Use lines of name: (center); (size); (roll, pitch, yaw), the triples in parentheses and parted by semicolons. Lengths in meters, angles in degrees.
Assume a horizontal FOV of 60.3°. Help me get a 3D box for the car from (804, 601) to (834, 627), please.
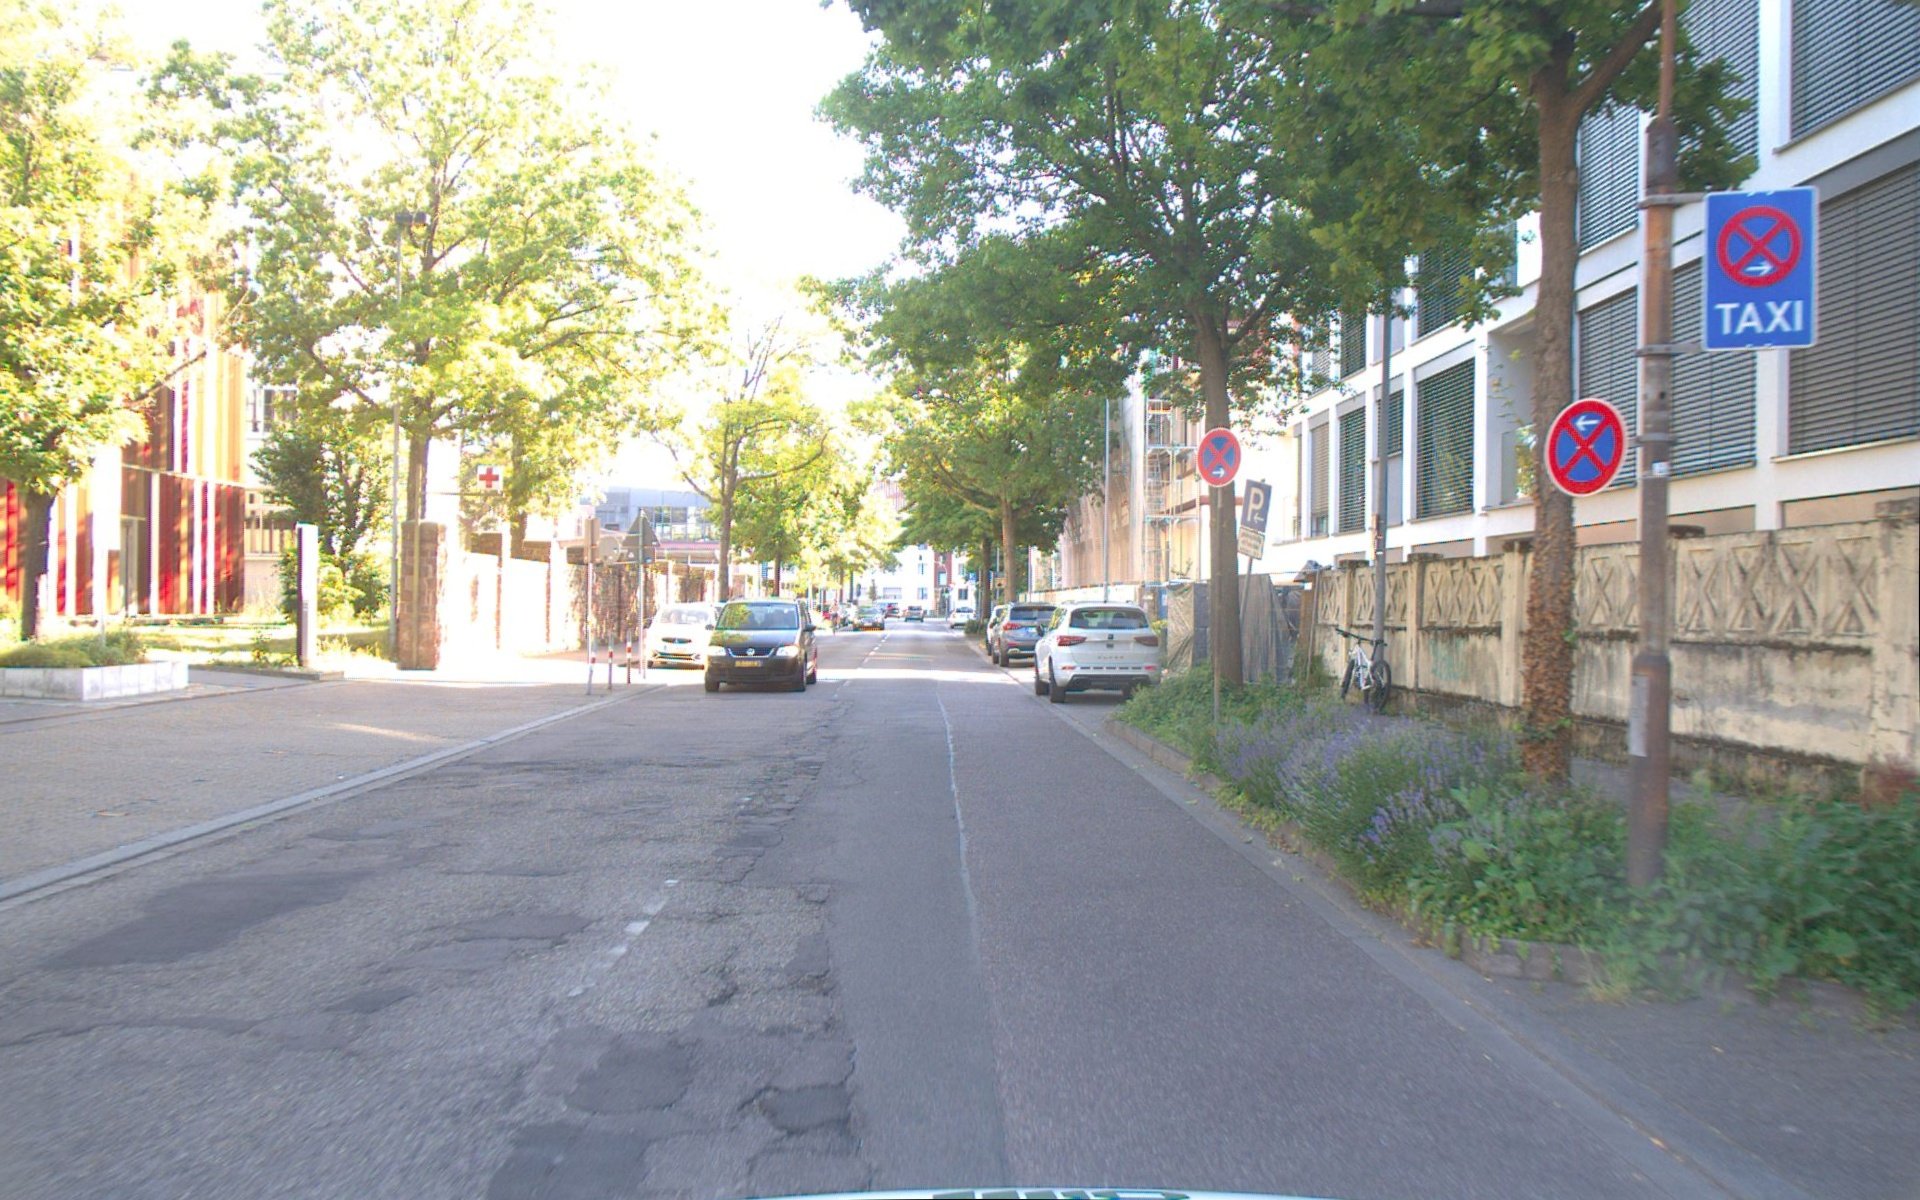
car: (-8.605, 0.856, 101.046); (1.576, 1.484, 3.707); (2, 0, -1)

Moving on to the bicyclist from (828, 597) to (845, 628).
bicyclist: (-6.218, 0.628, 83.205); (0.706, 1.549, 1.005); (2, -1, 1)

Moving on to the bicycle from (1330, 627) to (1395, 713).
bicycle: (5.271, 0.900, 21.758); (0.330, 1.059, 1.830); (1, 0, -2)

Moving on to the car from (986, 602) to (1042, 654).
car: (1.701, 0.855, 52.429); (1.688, 1.536, 3.992); (-1, 0, 1)

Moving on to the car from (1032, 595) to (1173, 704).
car: (2.295, 0.770, 27.657); (1.757, 1.644, 4.124); (2, 0, -3)

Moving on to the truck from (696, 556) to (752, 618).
truck: (-15.182, -0.807, 106.773); (2.677, 3.776, 7.425); (2, 0, -2)

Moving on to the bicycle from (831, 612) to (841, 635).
bicycle: (-6.236, 1.164, 83.131); (0.350, 1.140, 1.865); (2, 0, 0)

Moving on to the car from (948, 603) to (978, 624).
car: (0.156, 0.909, 108.784); (1.795, 1.346, 4.494); (0, 0, -2)

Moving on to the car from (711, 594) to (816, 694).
car: (-3.463, 0.737, 29.709); (1.611, 1.639, 4.018); (-1, 0, -4)

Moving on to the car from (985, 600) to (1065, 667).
car: (1.670, 0.848, 43.524); (1.678, 1.667, 4.299); (1, 0, -4)

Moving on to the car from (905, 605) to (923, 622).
car: (-4.139, 1.205, 149.039); (1.606, 1.468, 3.420); (2, 0, -1)

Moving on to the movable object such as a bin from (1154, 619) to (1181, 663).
movable object such as a bin: (5.120, 1.005, 40.830); (0.585, 1.045, 0.564); (2, -1, 2)

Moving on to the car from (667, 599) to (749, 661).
car: (-6.925, 0.802, 45.712); (1.643, 1.537, 3.848); (4, 0, -1)

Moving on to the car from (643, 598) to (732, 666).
car: (-6.405, 0.728, 39.173); (1.542, 1.426, 3.749); (4, 0, -3)

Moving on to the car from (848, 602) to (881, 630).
car: (-5.571, 0.917, 96.353); (1.785, 1.461, 3.966); (3, 0, -3)
